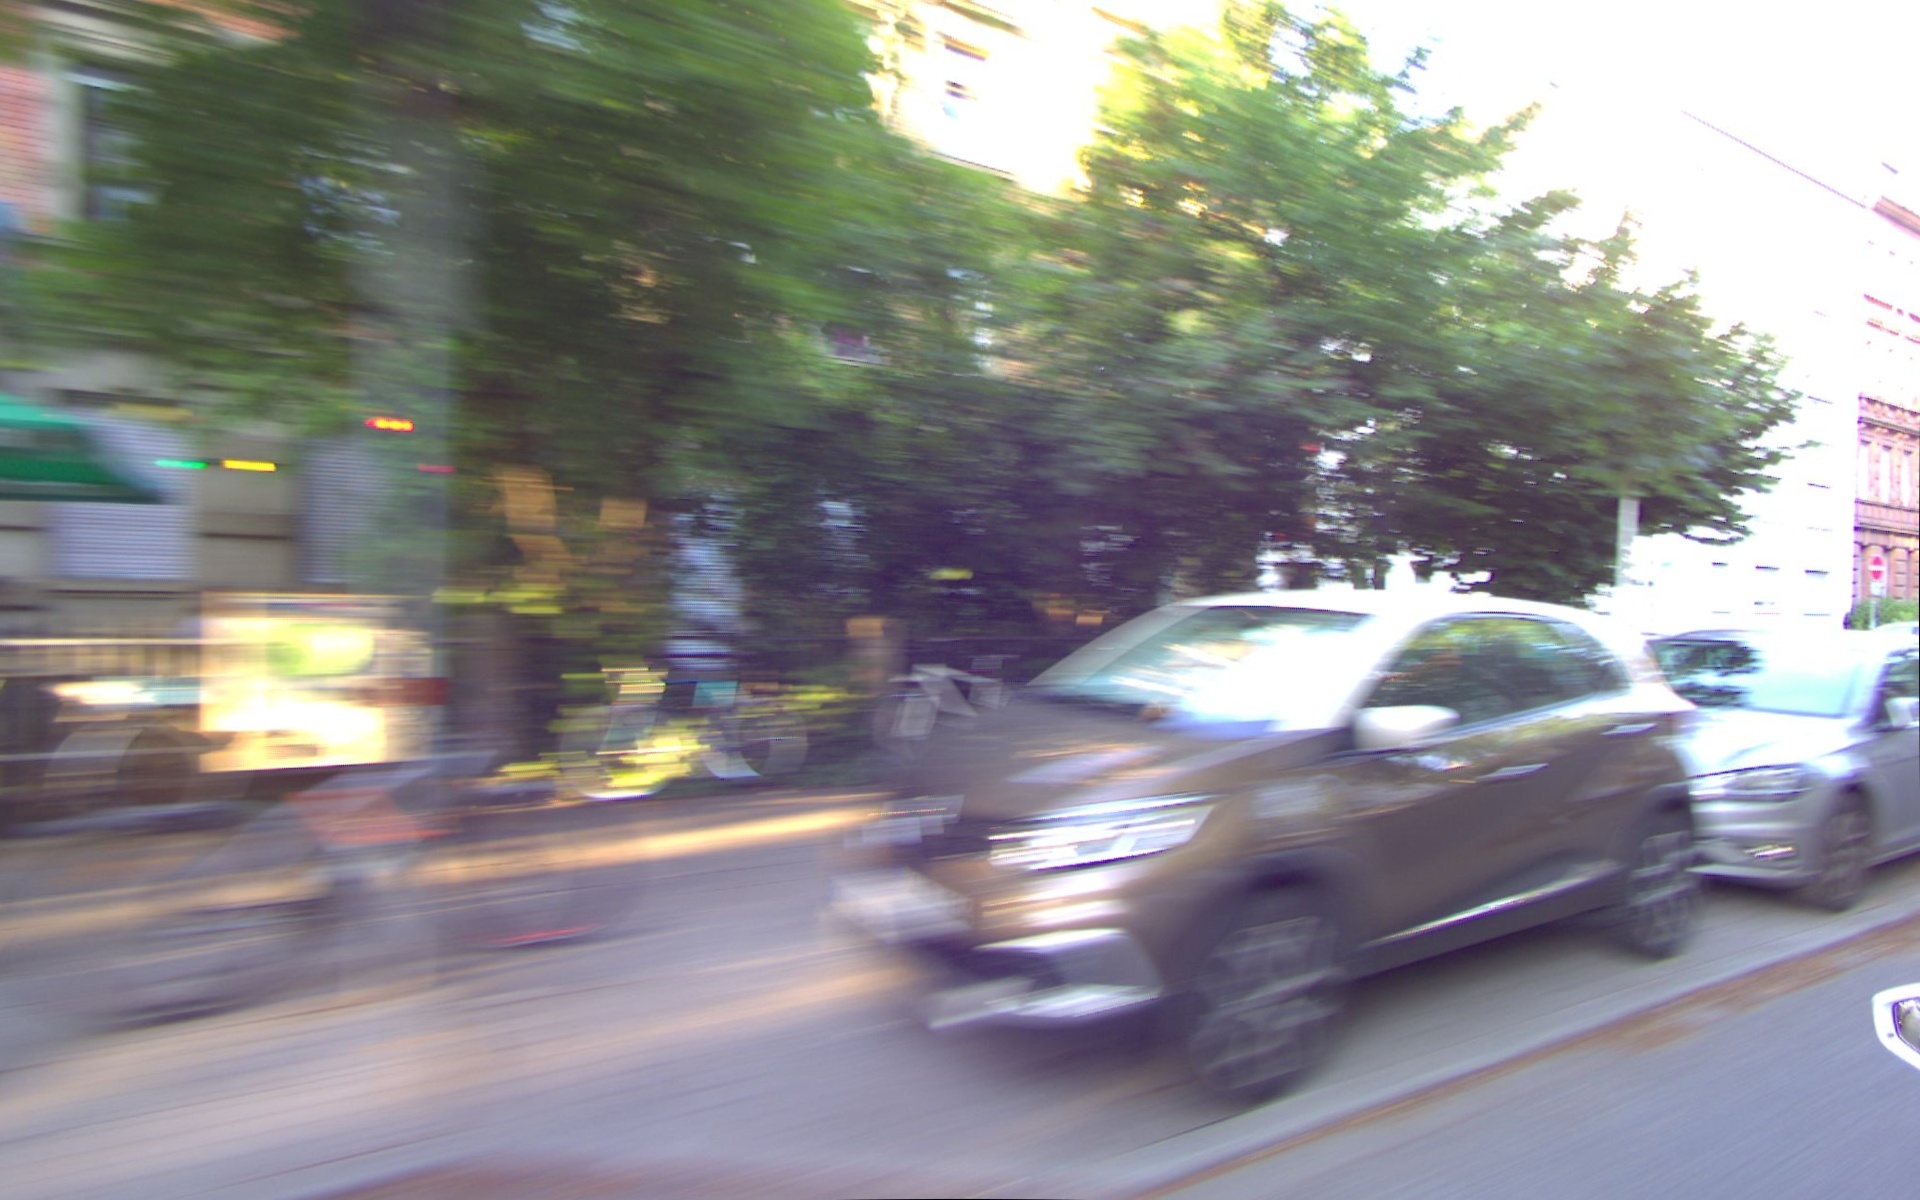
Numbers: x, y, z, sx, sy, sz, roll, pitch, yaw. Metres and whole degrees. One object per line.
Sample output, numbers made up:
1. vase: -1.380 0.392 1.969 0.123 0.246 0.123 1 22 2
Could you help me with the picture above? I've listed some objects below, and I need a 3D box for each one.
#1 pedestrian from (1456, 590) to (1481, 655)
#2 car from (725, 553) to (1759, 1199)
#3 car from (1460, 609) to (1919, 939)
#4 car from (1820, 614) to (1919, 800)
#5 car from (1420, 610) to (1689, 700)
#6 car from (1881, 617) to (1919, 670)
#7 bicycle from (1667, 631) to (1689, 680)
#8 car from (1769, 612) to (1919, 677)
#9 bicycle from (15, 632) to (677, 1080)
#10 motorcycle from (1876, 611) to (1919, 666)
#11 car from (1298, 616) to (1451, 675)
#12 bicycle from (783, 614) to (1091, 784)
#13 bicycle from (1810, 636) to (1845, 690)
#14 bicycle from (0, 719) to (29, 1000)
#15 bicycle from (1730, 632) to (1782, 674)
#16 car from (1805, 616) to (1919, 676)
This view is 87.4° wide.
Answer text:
1. pedestrian: 14.594 0.638 28.805 0.494 1.789 0.621 2 5 38
2. car: 1.405 0.678 4.223 4.354 1.585 1.680 1 3 -33
3. car: 5.355 0.875 6.522 4.351 1.522 1.681 2 -1 -31
4. car: 10.180 0.956 9.427 4.681 1.522 1.681 1 3 -30
5. car: 11.904 1.017 20.380 1.694 1.573 4.416 0 0 -39
6. car: 27.953 1.244 27.535 1.790 1.467 3.558 0 1 -20
7. bicycle: 17.485 1.333 24.486 0.361 1.131 1.846 1 0 34
8. car: 23.404 1.096 25.572 1.683 1.467 4.086 0 1 -20
9. bicycle: -2.021 0.776 3.579 1.875 1.272 0.480 1 4 -28
10. motorcycle: 29.659 1.178 30.410 0.665 1.660 2.847 1 0 -21
11. car: 11.772 1.281 28.580 3.655 1.492 1.793 1 -3 38
12. bicycle: -0.195 0.776 8.208 2.441 1.302 0.606 1 0 -10
13. bicycle: 19.590 1.394 22.702 0.361 1.124 1.846 1 0 34
14. bicycle: -4.096 0.905 3.111 1.712 0.941 0.414 1 3 -28
15. bicycle: 20.897 1.376 26.369 1.855 1.076 0.394 1 0 -29
16. car: 25.407 1.223 26.771 1.789 1.467 4.088 0 1 -19
